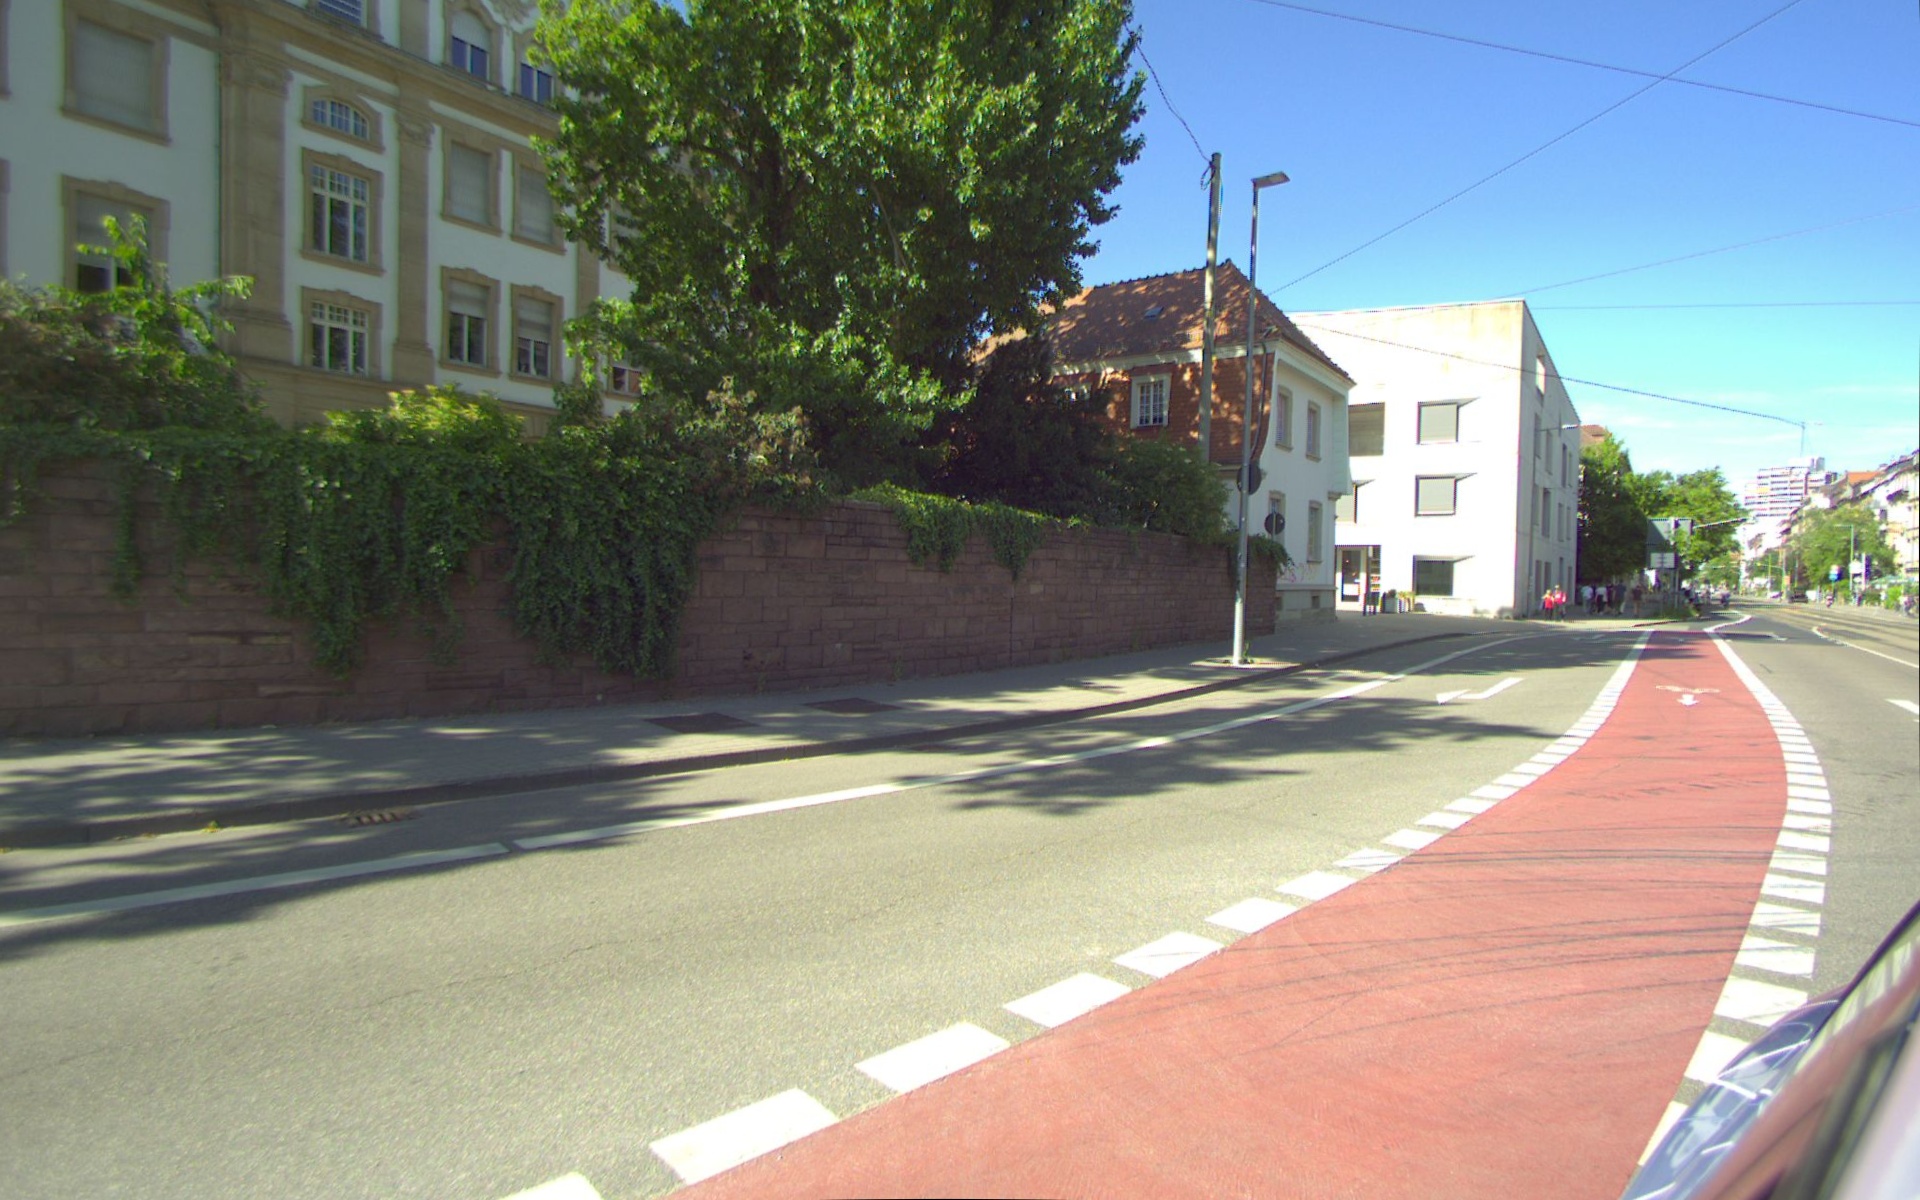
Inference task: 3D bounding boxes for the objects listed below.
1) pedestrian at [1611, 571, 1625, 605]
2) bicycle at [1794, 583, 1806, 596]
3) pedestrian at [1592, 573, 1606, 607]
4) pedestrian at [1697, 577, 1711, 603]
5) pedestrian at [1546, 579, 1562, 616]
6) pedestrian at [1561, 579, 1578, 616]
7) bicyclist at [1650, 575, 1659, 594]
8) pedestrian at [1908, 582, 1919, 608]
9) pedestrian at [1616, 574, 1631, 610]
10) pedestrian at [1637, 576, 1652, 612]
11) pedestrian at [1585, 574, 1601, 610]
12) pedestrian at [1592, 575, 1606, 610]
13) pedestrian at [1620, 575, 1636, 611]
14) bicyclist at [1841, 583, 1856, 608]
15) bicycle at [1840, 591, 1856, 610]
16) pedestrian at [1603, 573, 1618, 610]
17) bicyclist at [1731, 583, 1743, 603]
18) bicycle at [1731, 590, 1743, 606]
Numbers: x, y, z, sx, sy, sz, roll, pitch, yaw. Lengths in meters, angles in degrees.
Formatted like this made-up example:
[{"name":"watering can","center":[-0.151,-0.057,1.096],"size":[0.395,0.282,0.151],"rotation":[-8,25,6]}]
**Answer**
[{"name":"pedestrian","center":[35.139,-0.648,54.048],"size":[0.584,1.828,0.538],"rotation":[2,1,36]},{"name":"bicycle","center":[107.645,-1.366,129.761],"size":[0.998,1.702,2.946],"rotation":[0,2,37]},{"name":"pedestrian","center":[34.447,-0.557,54.564],"size":[0.584,1.828,0.538],"rotation":[2,1,36]},{"name":"pedestrian","center":[51.281,-0.689,69.742],"size":[0.675,1.759,0.919],"rotation":[2,2,38]},{"name":"pedestrian","center":[26.067,-0.124,44.425],"size":[0.531,1.586,0.513],"rotation":[2,1,36]},{"name":"pedestrian","center":[26.524,-0.113,44.037],"size":[0.531,1.586,0.513],"rotation":[2,1,36]},{"name":"bicyclist","center":[81.626,-1.811,118.885],"size":[0.809,2.234,0.971],"rotation":[0,1,39]},{"name":"pedestrian","center":[70.214,-0.343,74.447],"size":[0.576,1.879,0.675],"rotation":[2,1,37]},{"name":"pedestrian","center":[34.589,-0.431,52.737],"size":[0.584,1.828,0.575],"rotation":[2,1,36]},{"name":"pedestrian","center":[34.106,-0.311,50.433],"size":[0.584,1.749,0.513],"rotation":[2,1,36]},{"name":"pedestrian","center":[32.268,-0.430,51.592],"size":[0.584,1.828,0.538],"rotation":[2,1,36]},{"name":"pedestrian","center":[33.611,-0.398,53.220],"size":[0.584,1.828,0.575],"rotation":[2,1,36]},{"name":"pedestrian","center":[33.502,-0.355,50.747],"size":[0.584,1.828,0.513],"rotation":[2,1,36]},{"name":"bicyclist","center":[83.761,-0.432,95.446],"size":[0.999,2.296,1.006],"rotation":[0,1,39]},{"name":"bicycle","center":[83.776,0.069,95.501],"size":[0.999,1.702,2.943],"rotation":[0,2,39]},{"name":"pedestrian","center":[32.883,-0.424,51.167],"size":[0.584,1.828,0.538],"rotation":[2,1,36]},{"name":"bicyclist","center":[58.158,-0.561,75.738],"size":[0.663,1.480,0.613],"rotation":[0,1,41]},{"name":"bicycle","center":[58.173,-0.178,75.758],"size":[0.663,1.166,1.648],"rotation":[0,2,40]}]
